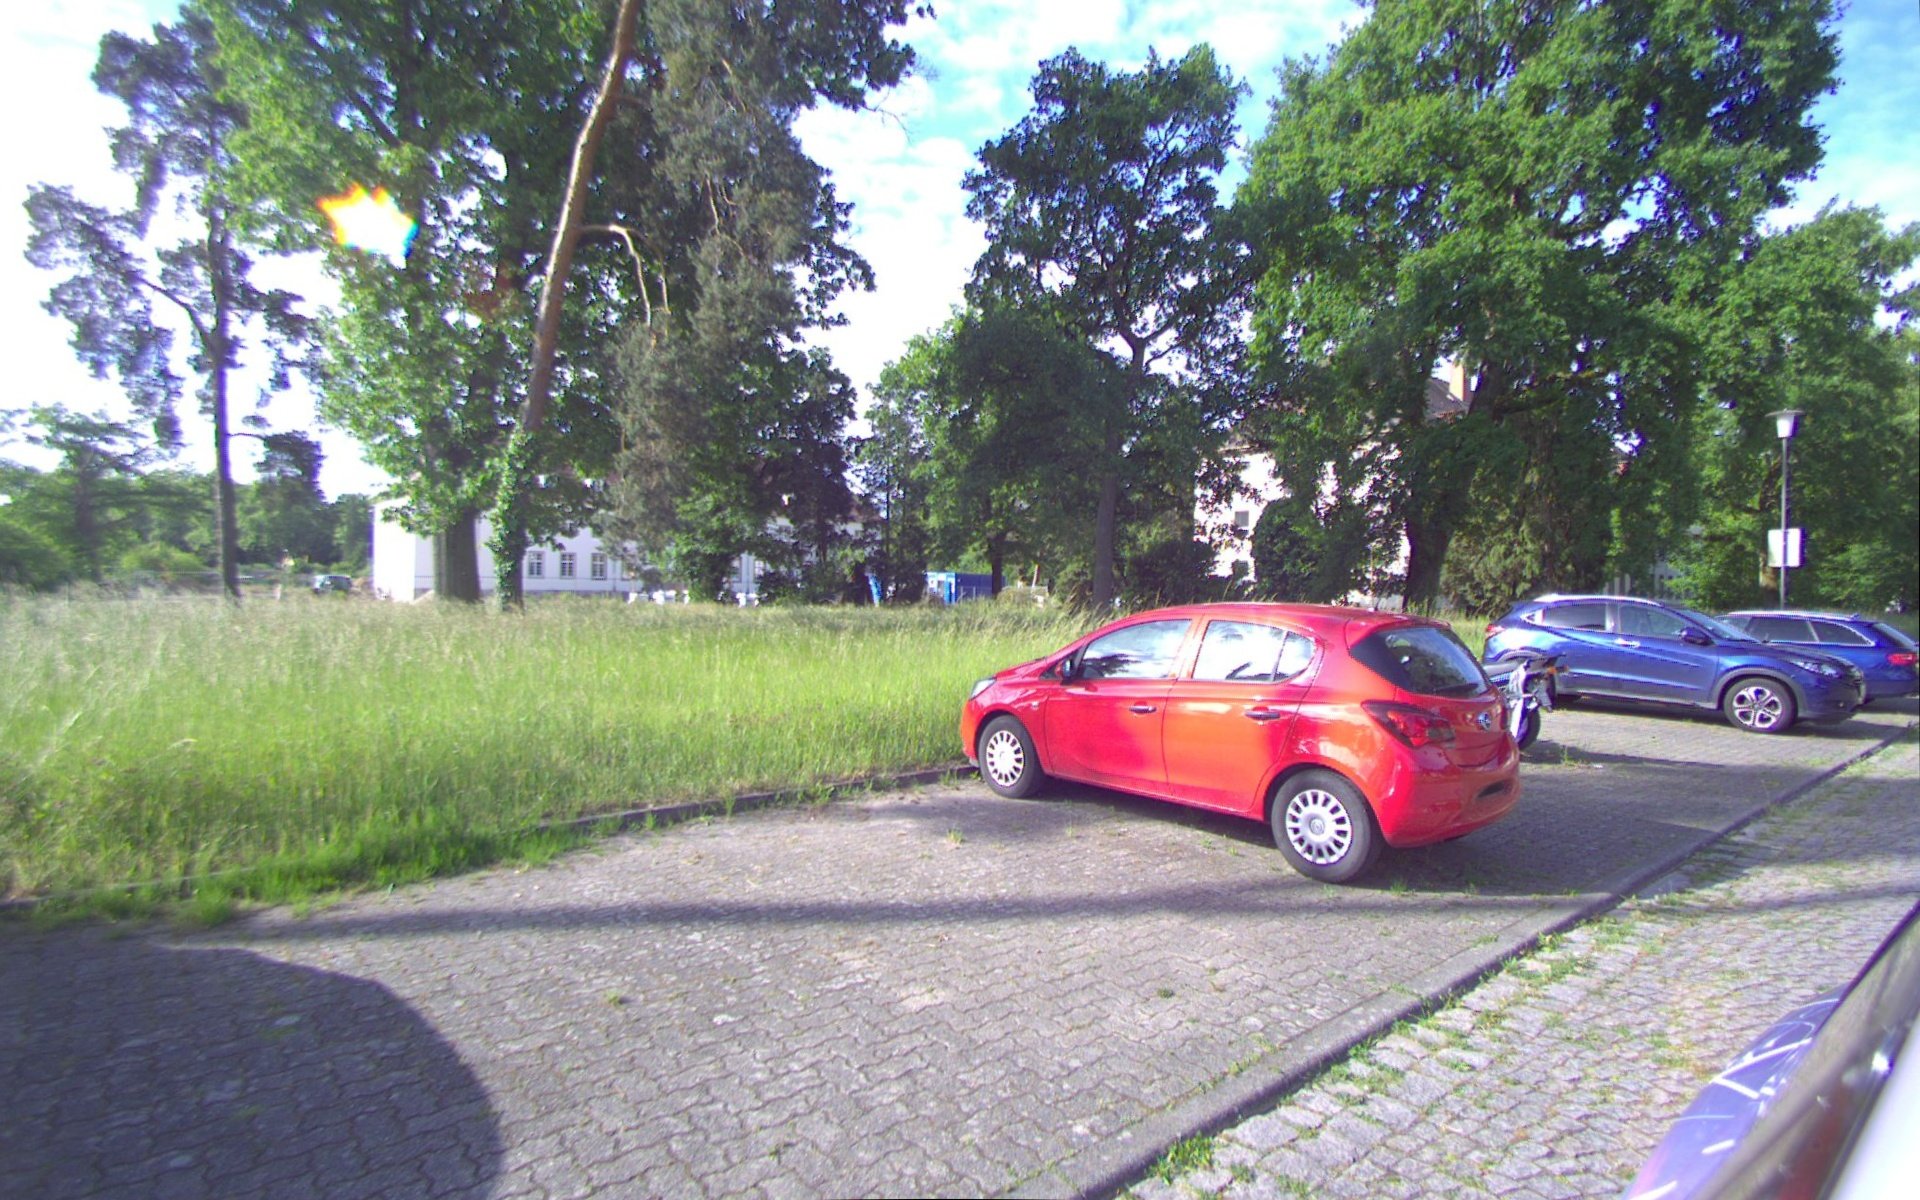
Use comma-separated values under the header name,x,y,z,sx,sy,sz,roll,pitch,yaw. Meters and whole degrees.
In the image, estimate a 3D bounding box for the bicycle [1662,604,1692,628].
name,x,y,z,sx,sy,sz,roll,pitch,yaw
bicycle,31.871,0.689,44.994,0.700,1.029,1.023,1,0,12

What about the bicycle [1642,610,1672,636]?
name,x,y,z,sx,sy,sz,roll,pitch,yaw
bicycle,29.001,0.950,42.118,1.007,1.029,0.711,1,0,-33

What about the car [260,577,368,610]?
name,x,y,z,sx,sy,sz,roll,pitch,yaw
car,-44.623,-0.487,70.065,5.889,2.199,2.380,-1,1,-13

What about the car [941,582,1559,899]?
name,x,y,z,sx,sy,sz,roll,pitch,yaw
car,1.709,0.670,6.974,1.616,1.497,3.835,1,1,-40

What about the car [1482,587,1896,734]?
name,x,y,z,sx,sy,sz,roll,pitch,yaw
car,9.484,0.655,13.457,1.721,1.611,4.185,1,1,-40

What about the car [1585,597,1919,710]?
name,x,y,z,sx,sy,sz,roll,pitch,yaw
car,12.976,0.759,16.464,1.682,1.425,4.463,1,2,-37

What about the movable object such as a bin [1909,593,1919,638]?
name,x,y,z,sx,sy,sz,roll,pitch,yaw
movable object such as a bin,40.136,0.658,38.912,1.959,1.781,4.949,1,1,-26

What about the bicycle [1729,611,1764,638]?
name,x,y,z,sx,sy,sz,roll,pitch,yaw
bicycle,30.521,0.941,39.271,1.231,1.029,0.711,1,0,-33

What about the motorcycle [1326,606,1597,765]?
name,x,y,z,sx,sy,sz,roll,pitch,yaw
motorcycle,4.922,0.767,10.109,0.713,1.336,2.304,1,1,-40

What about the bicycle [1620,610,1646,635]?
name,x,y,z,sx,sy,sz,roll,pitch,yaw
bicycle,28.236,0.940,42.462,1.008,1.029,0.619,1,0,-38
